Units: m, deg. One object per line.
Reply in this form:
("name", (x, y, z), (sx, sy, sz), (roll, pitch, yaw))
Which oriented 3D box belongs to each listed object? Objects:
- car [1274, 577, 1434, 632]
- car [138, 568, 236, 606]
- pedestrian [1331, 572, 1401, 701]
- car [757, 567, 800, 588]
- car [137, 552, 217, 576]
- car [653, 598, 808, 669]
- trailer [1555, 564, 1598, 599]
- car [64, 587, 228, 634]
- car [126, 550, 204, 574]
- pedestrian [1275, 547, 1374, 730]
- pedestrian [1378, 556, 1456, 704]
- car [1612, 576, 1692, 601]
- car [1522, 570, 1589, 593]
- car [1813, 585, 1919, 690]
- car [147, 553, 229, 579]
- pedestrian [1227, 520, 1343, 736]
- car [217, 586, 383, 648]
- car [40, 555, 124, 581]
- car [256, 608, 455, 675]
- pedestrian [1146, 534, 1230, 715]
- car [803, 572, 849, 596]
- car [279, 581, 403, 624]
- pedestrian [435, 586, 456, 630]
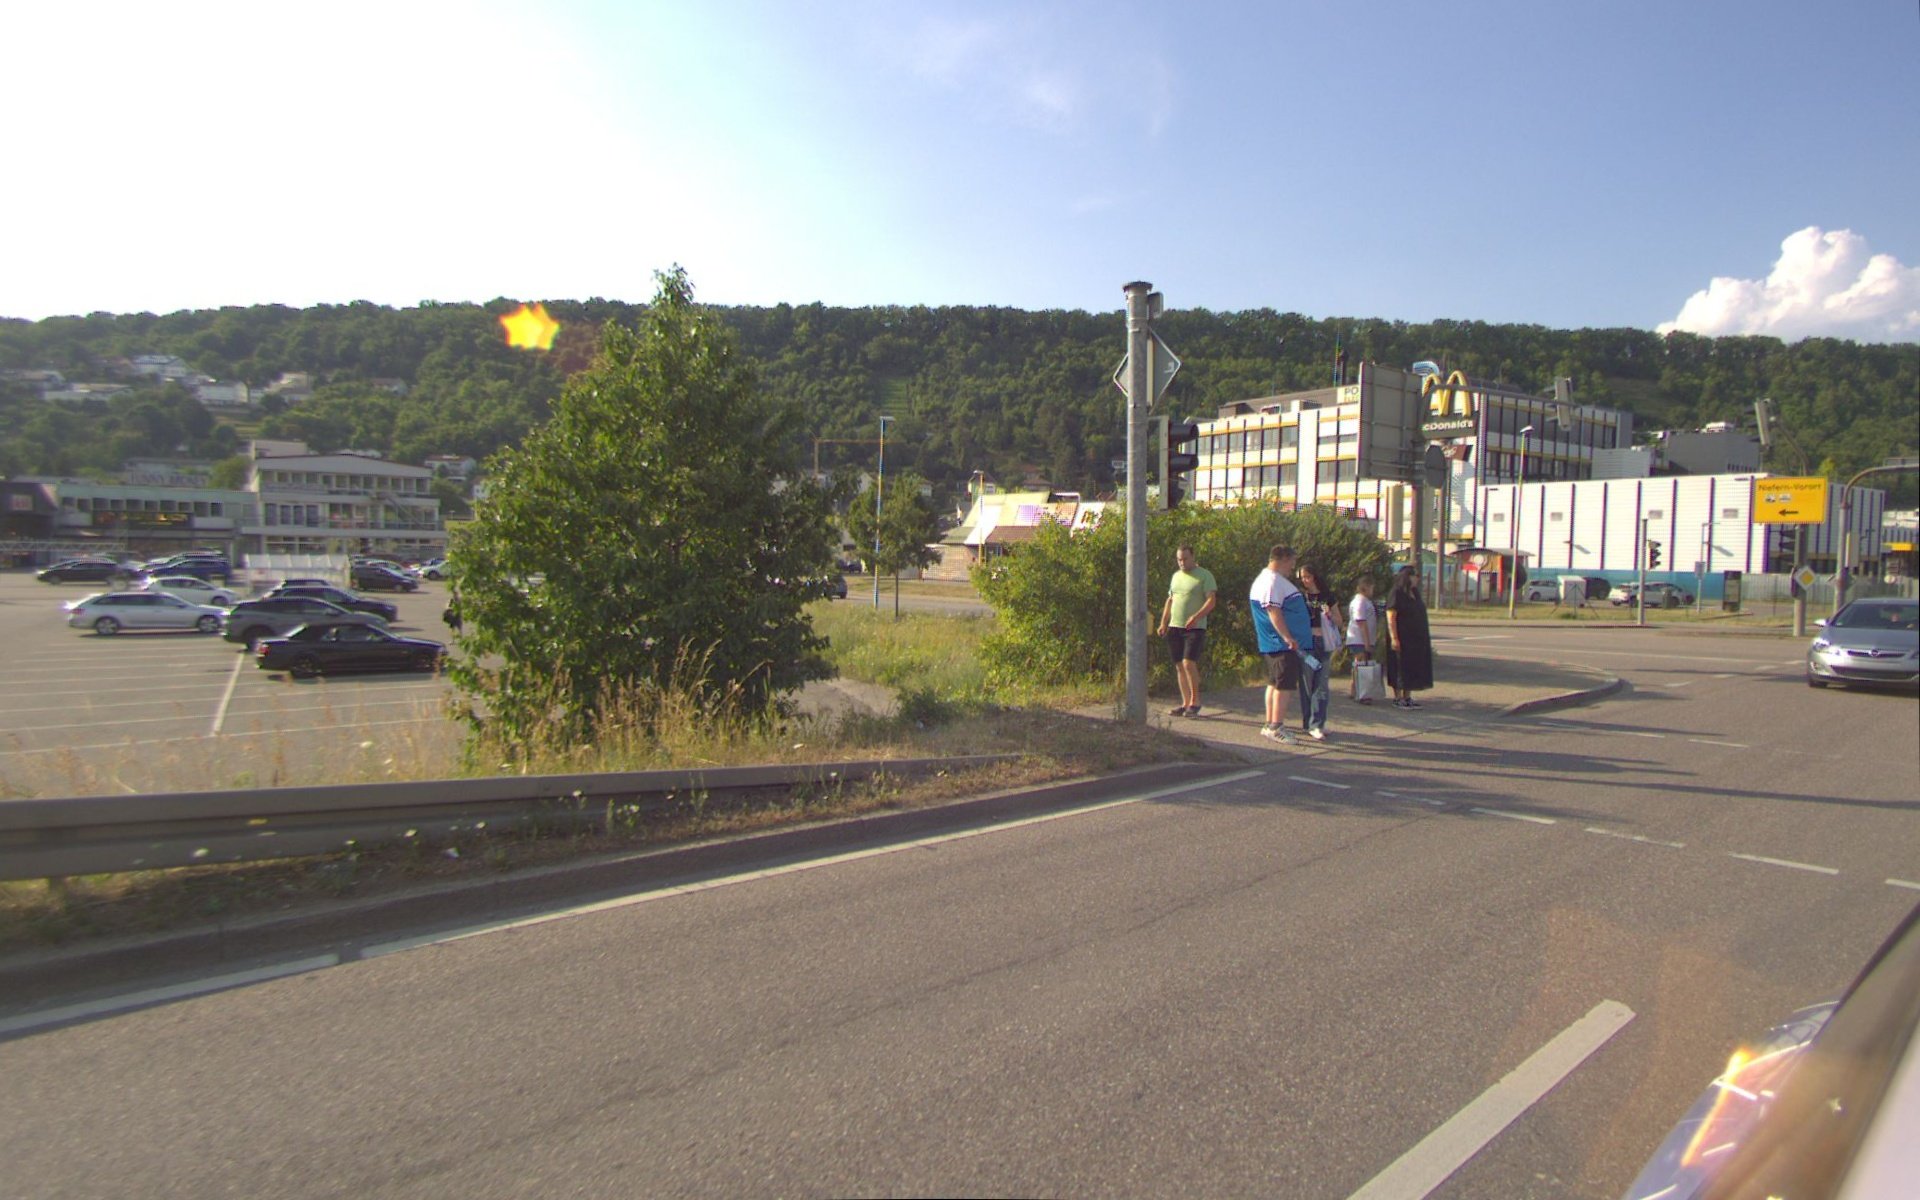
("car", (12.538, 0.068, 32.467), (1.963, 1.604, 4.470), (-1, 2, -36))
("car", (-37.465, -0.673, 49.103), (3.691, 1.771, 1.802), (-2, 2, -39))
("pedestrian", (4.841, 0.411, 12.069), (0.612, 1.475, 0.572), (-1, 2, -44))
("car", (-12.733, -1.615, 70.935), (1.657, 1.437, 3.654), (-1, 2, -34))
("car", (-53.694, -2.470, 69.467), (4.265, 1.581, 1.836), (-2, 4, -41))
("car", (-6.646, 0.901, 29.524), (4.062, 1.723, 1.834), (-2, 5, -44))
("trailer", (36.993, -1.128, 60.789), (1.331, 1.971, 3.460), (3, 3, 18))
("car", (-28.883, 0.327, 36.110), (4.451, 1.525, 1.908), (-2, 2, -37))
("car", (-55.846, -2.676, 71.123), (4.265, 1.581, 1.836), (-2, 4, -41))
("pedestrian", (3.567, 0.346, 9.922), (0.622, 1.702, 0.596), (-1, 5, -41))
("pedestrian", (5.297, 0.325, 11.731), (0.612, 1.634, 0.572), (-1, 4, -44))
("car", (44.219, -0.770, 64.736), (3.830, 1.523, 1.879), (0, 1, -3))
("car", (40.893, -1.282, 69.525), (3.699, 1.473, 1.701), (-1, 1, -7))
("car", (15.038, 0.527, 15.987), (3.814, 1.407, 1.691), (-2, 3, -39))
("car", (-51.477, -2.275, 67.522), (4.265, 1.581, 1.836), (-2, 4, -41))
("pedestrian", (3.027, 0.225, 9.431), (0.846, 1.905, 0.620), (-1, 4, -41))
("car", (-20.847, 0.478, 32.162), (4.259, 1.750, 2.002), (-1, 2, -32))
("car", (-55.571, -2.041, 64.141), (3.834, 1.581, 1.838), (-1, 4, -37))
("car", (-15.783, 1.028, 26.530), (4.266, 1.390, 1.999), (-2, 4, -39))
("pedestrian", (2.333, 0.229, 10.388), (0.527, 1.769, 0.533), (-1, 6, -35))
("car", (-8.687, -1.054, 65.535), (1.547, 1.504, 3.323), (-1, 2, -37))
("car", (-24.071, 0.046, 39.408), (3.930, 1.526, 1.729), (-2, 2, -40))
("pedestrian", (-17.583, 0.269, 34.612), (0.556, 1.477, 0.381), (-1, 1, -14))
